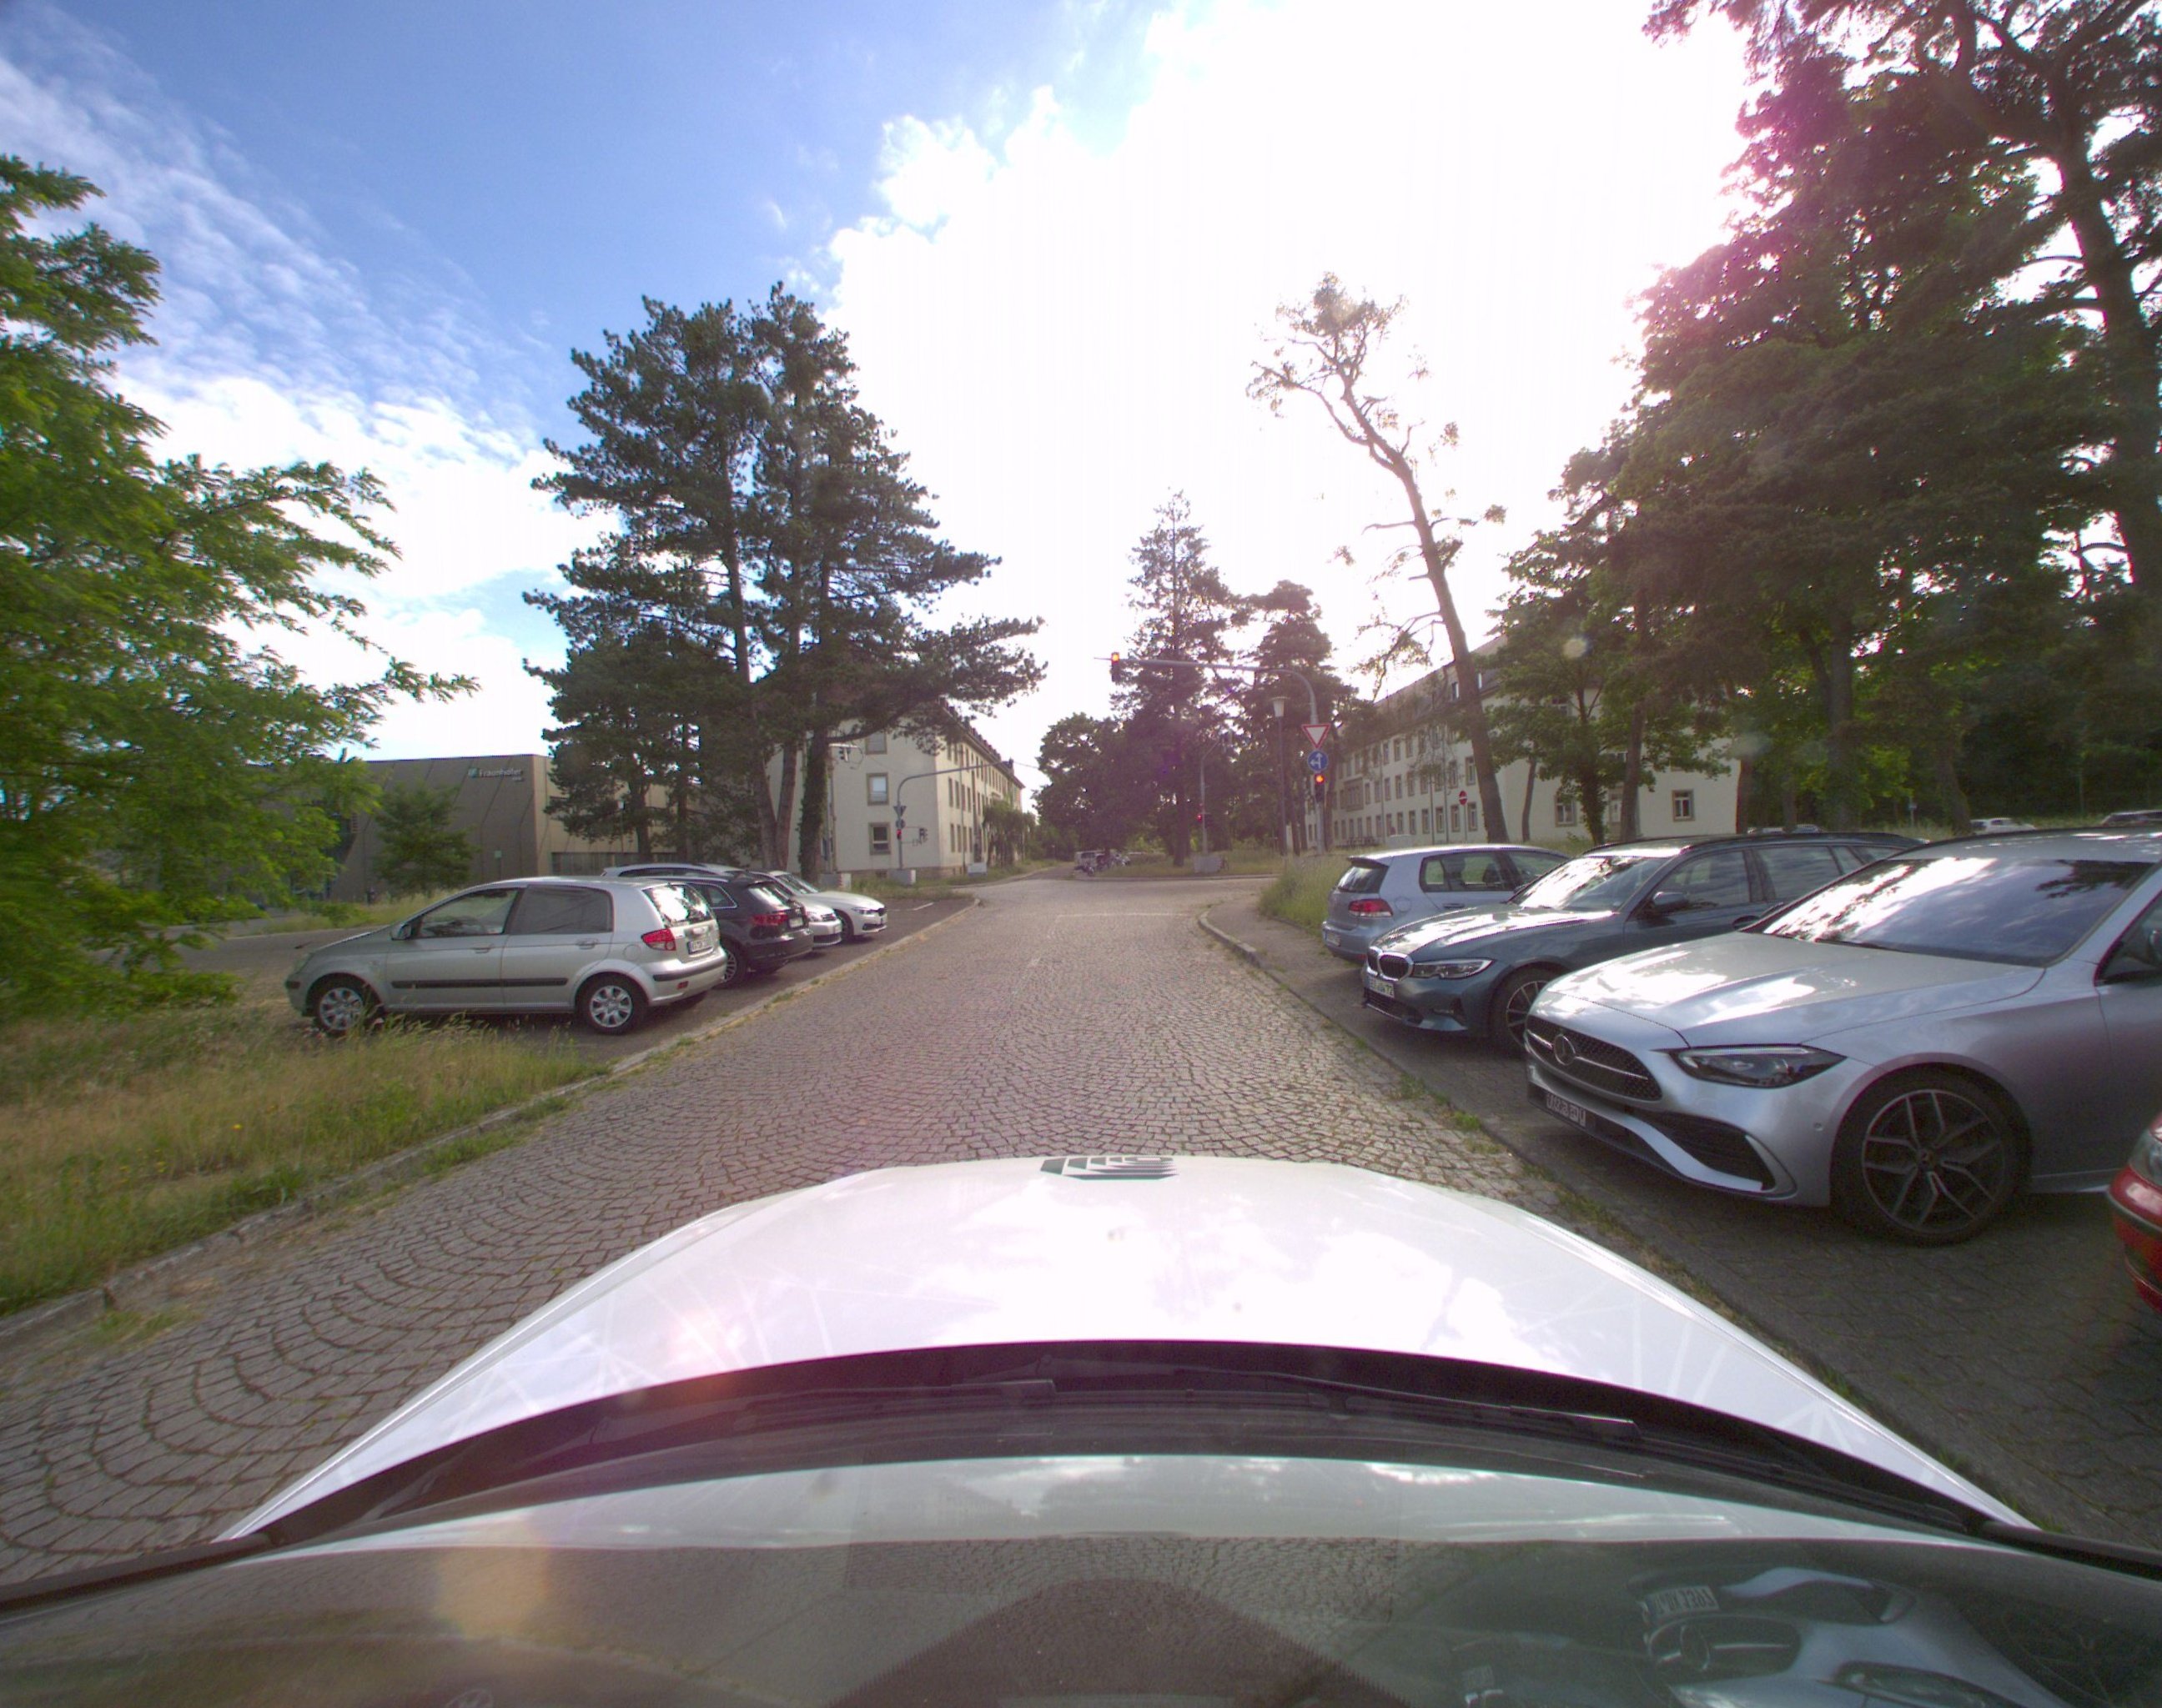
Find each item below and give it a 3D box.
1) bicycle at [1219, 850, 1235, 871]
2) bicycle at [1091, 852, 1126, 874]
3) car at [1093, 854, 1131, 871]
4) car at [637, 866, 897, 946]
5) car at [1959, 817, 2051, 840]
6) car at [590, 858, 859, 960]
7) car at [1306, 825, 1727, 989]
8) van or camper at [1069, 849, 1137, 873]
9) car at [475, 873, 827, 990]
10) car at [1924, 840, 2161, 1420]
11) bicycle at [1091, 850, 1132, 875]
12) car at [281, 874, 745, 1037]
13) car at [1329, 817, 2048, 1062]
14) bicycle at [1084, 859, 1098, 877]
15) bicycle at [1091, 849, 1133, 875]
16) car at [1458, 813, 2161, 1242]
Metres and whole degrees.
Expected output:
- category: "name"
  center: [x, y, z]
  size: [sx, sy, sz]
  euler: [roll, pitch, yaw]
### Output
- category: "bicycle"
  center: [8.306, 0.369, 46.435]
  size: [0.720, 1.169, 2.742]
  euler: [-1, 0, 7]
- category: "bicycle"
  center: [2.164, 0.694, 64.381]
  size: [2.765, 1.694, 1.121]
  euler: [0, 0, 2]
- category: "car"
  center: [2.747, 0.718, 72.691]
  size: [3.133, 1.354, 1.617]
  euler: [-2, 0, -5]
- category: "car"
  center: [-6.129, 1.001, 16.349]
  size: [4.467, 1.442, 1.828]
  euler: [1, 0, -3]
- category: "car"
  center: [58.099, -1.601, 51.254]
  size: [3.973, 1.398, 1.563]
  euler: [0, 0, 1]
- category: "car"
  center: [-5.940, 0.884, 13.929]
  size: [3.821, 1.607, 1.734]
  euler: [0, 0, -2]
- category: "car"
  center: [4.707, 0.545, 9.197]
  size: [3.830, 1.471, 1.642]
  euler: [-3, 0, 0]
- category: "van or camper"
  center: [2.016, 0.641, 76.258]
  size: [6.039, 1.948, 1.991]
  euler: [-3, 0, -13]
- category: "car"
  center: [-5.629, 0.987, 11.021]
  size: [3.823, 1.408, 1.695]
  euler: [0, 0, 0]
- category: "car"
  center: [4.691, 0.606, 1.654]
  size: [4.092, 1.423, 1.720]
  euler: [-3, 0, 1]
- category: "bicycle"
  center: [2.204, 0.596, 59.477]
  size: [2.773, 1.694, 1.117]
  euler: [-3, 0, -7]
- category: "car"
  center: [-5.604, 0.957, 8.400]
  size: [3.567, 1.476, 1.646]
  euler: [0, 0, -2]
- category: "car"
  center: [4.556, 0.585, 6.589]
  size: [4.501, 1.483, 1.806]
  euler: [-3, 0, -2]
- category: "bicycle"
  center: [0.648, 0.928, 54.012]
  size: [0.723, 1.107, 2.463]
  euler: [-7, -1, 2]
- category: "bicycle"
  center: [2.206, 0.566, 58.283]
  size: [2.771, 1.694, 1.118]
  euler: [-3, 0, -5]
- category: "car"
  center: [4.399, 0.591, 3.916]
  size: [4.312, 1.428, 1.766]
  euler: [-3, 0, -1]
